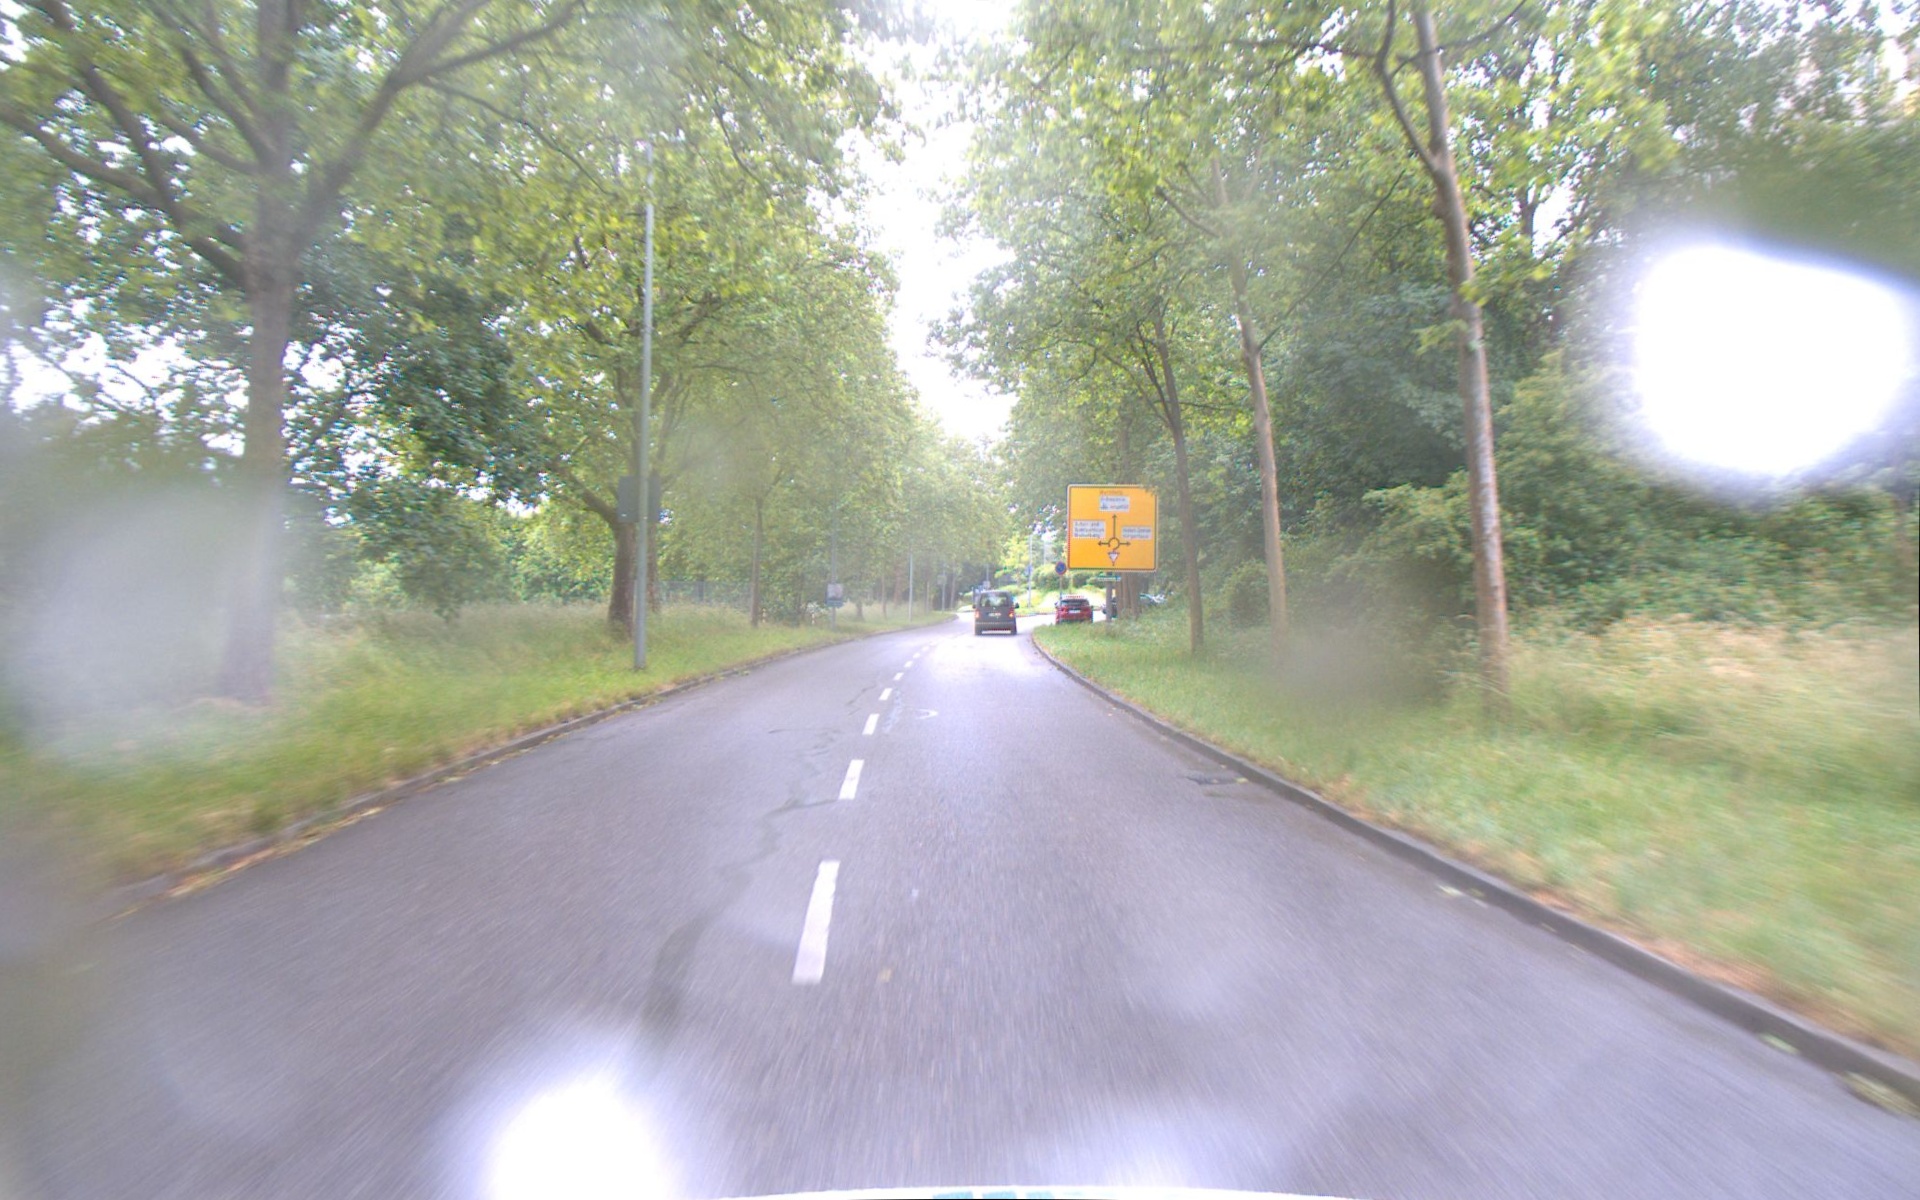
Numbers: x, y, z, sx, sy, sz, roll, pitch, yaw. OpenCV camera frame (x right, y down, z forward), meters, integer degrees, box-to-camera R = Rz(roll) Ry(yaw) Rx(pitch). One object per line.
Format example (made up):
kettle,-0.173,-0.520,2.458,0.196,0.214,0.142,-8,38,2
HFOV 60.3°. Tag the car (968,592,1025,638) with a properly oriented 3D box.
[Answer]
car,1.590,0.621,70.017,1.877,1.833,3.793,1,0,9

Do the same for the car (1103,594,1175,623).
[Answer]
car,11.015,0.528,101.888,4.375,1.709,1.769,0,1,6

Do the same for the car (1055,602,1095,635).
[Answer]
car,5.284,0.838,75.870,1.759,1.396,3.746,-1,0,4
